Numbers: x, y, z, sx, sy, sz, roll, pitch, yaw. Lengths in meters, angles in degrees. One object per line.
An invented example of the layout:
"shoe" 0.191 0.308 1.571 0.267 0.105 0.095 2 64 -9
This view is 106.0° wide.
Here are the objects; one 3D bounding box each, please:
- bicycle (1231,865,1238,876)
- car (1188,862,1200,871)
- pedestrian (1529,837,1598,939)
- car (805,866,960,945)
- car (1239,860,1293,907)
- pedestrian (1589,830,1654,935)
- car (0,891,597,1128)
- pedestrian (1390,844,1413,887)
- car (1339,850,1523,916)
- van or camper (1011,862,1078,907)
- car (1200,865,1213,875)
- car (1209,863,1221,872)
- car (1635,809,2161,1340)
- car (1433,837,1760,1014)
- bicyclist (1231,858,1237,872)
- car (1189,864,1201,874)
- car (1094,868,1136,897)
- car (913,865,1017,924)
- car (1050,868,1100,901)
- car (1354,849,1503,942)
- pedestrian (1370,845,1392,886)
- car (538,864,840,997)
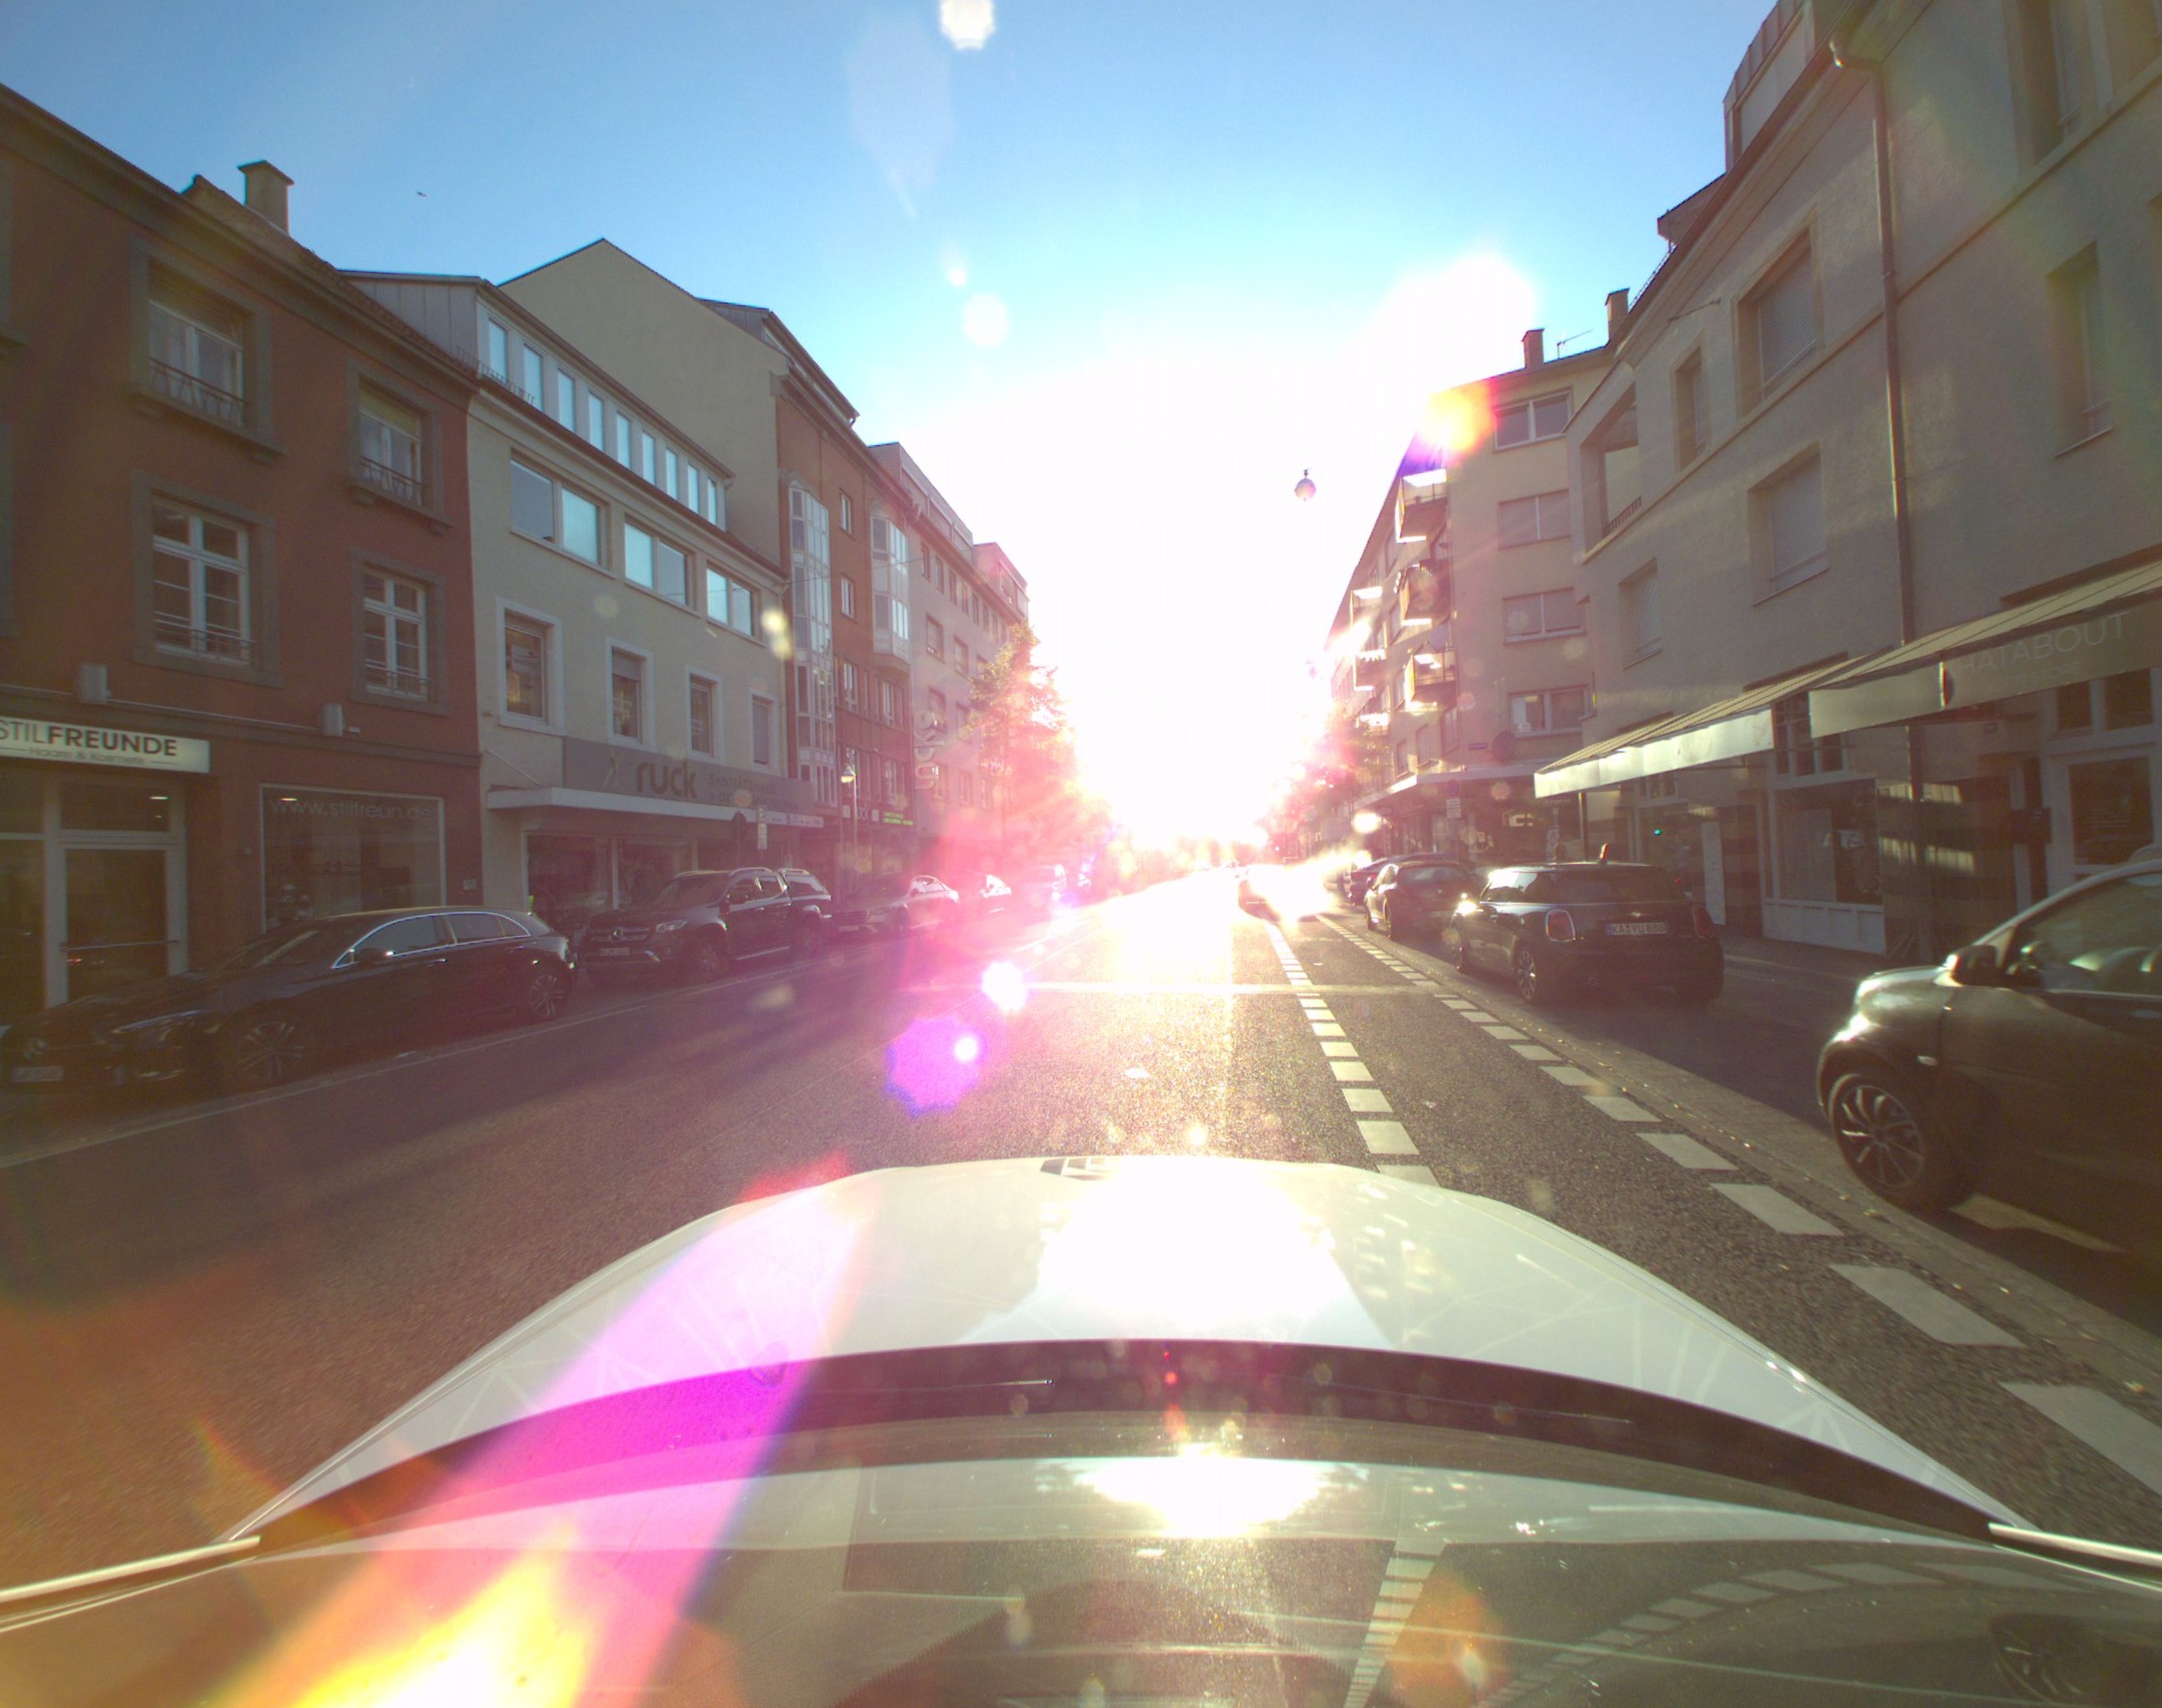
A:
"bicycle" 17.554 1.850 93.027 0.658 1.243 2.138 -1 -1 14
"car" 18.575 2.044 133.728 1.678 1.503 3.800 -3 -1 12
"pedestrian" 8.394 0.579 14.213 0.626 1.700 1.043 -3 -1 10
"car" -4.887 1.219 20.852 1.980 1.655 4.642 -4 -1 12
"car" 6.381 0.980 28.163 1.678 1.503 3.800 -1 0 12
"pedestrian" 9.124 0.481 13.779 0.556 1.700 0.834 -3 -1 10
"car" -7.333 1.266 8.159 1.674 1.488 4.423 -5 -1 10
"pedestrian" 13.650 0.484 34.703 0.713 1.791 0.669 -3 -1 11
"car" 9.590 0.777 22.548 4.294 1.698 1.878 -1 -1 -1
"van or camper" -1.535 1.287 36.207 1.776 1.774 4.573 -3 -1 12
"car" 20.576 2.589 133.409 1.678 1.503 3.800 -3 -1 12
"car" 23.173 2.312 140.541 1.678 1.503 3.800 -3 -1 12
"car" 4.208 0.626 3.204 1.779 1.580 3.977 -3 -1 9
"car" 5.546 0.683 9.408 1.779 1.580 3.796 -3 -1 9
"bicyclist" 17.539 1.280 93.087 0.543 1.581 0.806 -3 -1 14
"car" 19.375 2.538 137.862 1.678 1.503 3.800 -3 -1 12
"car" 2.009 1.604 46.736 1.678 1.503 3.800 -3 -1 12
"car" -3.678 1.247 26.678 1.981 1.655 4.493 -3 -1 10
"car" -0.260 1.518 41.535 1.678 1.503 3.800 -3 -1 12
"car" 6.736 0.754 16.212 1.779 1.580 3.796 -3 -1 9
"pedestrian" 13.479 0.513 36.601 0.713 1.791 0.669 -3 -1 11
"car" -6.416 1.144 14.276 1.982 1.777 5.332 -4 -1 9
